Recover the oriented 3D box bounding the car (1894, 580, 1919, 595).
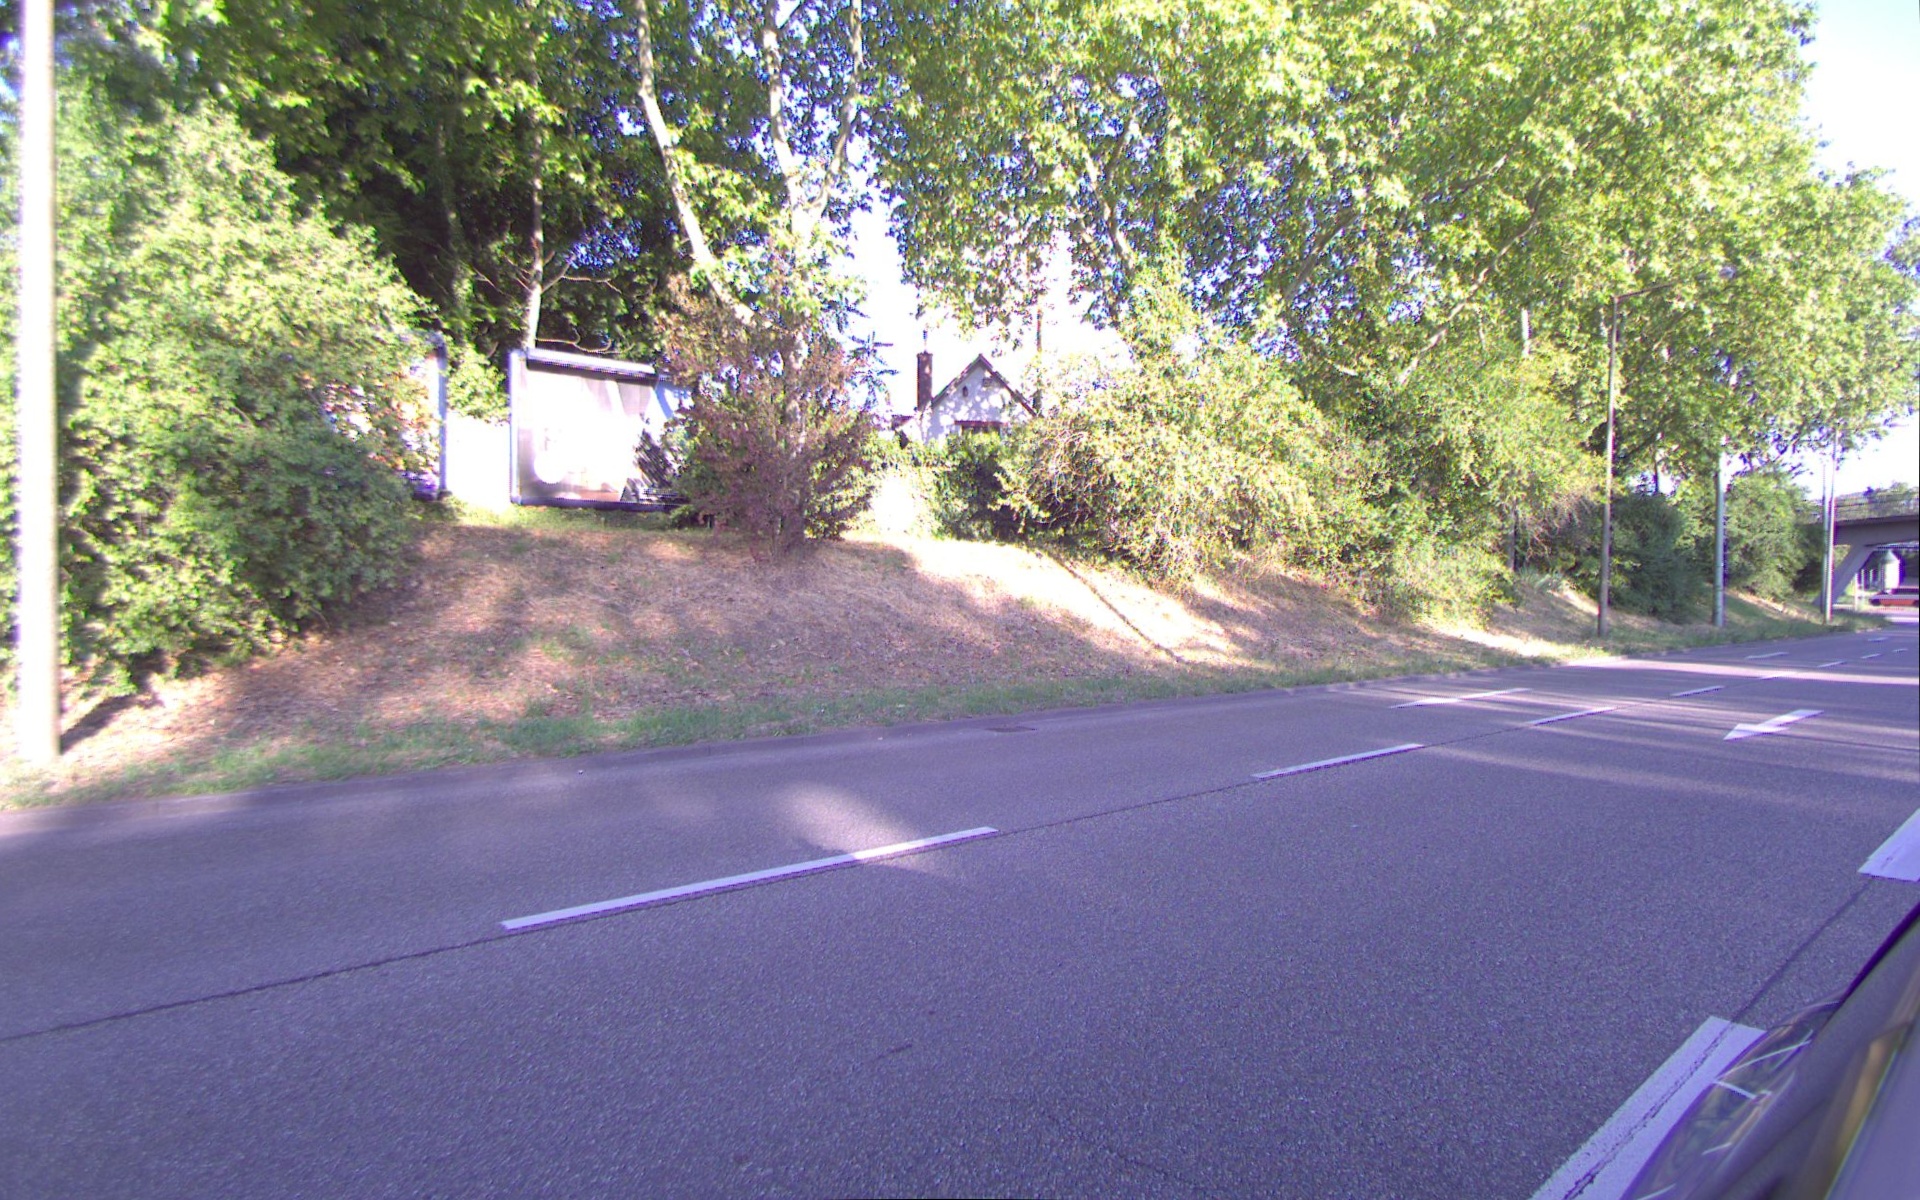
[{"bbox_3d":[90.804,-1.170,95.212,1.774,1.428,3.885,-1,1,-21],"label":"car"}]
